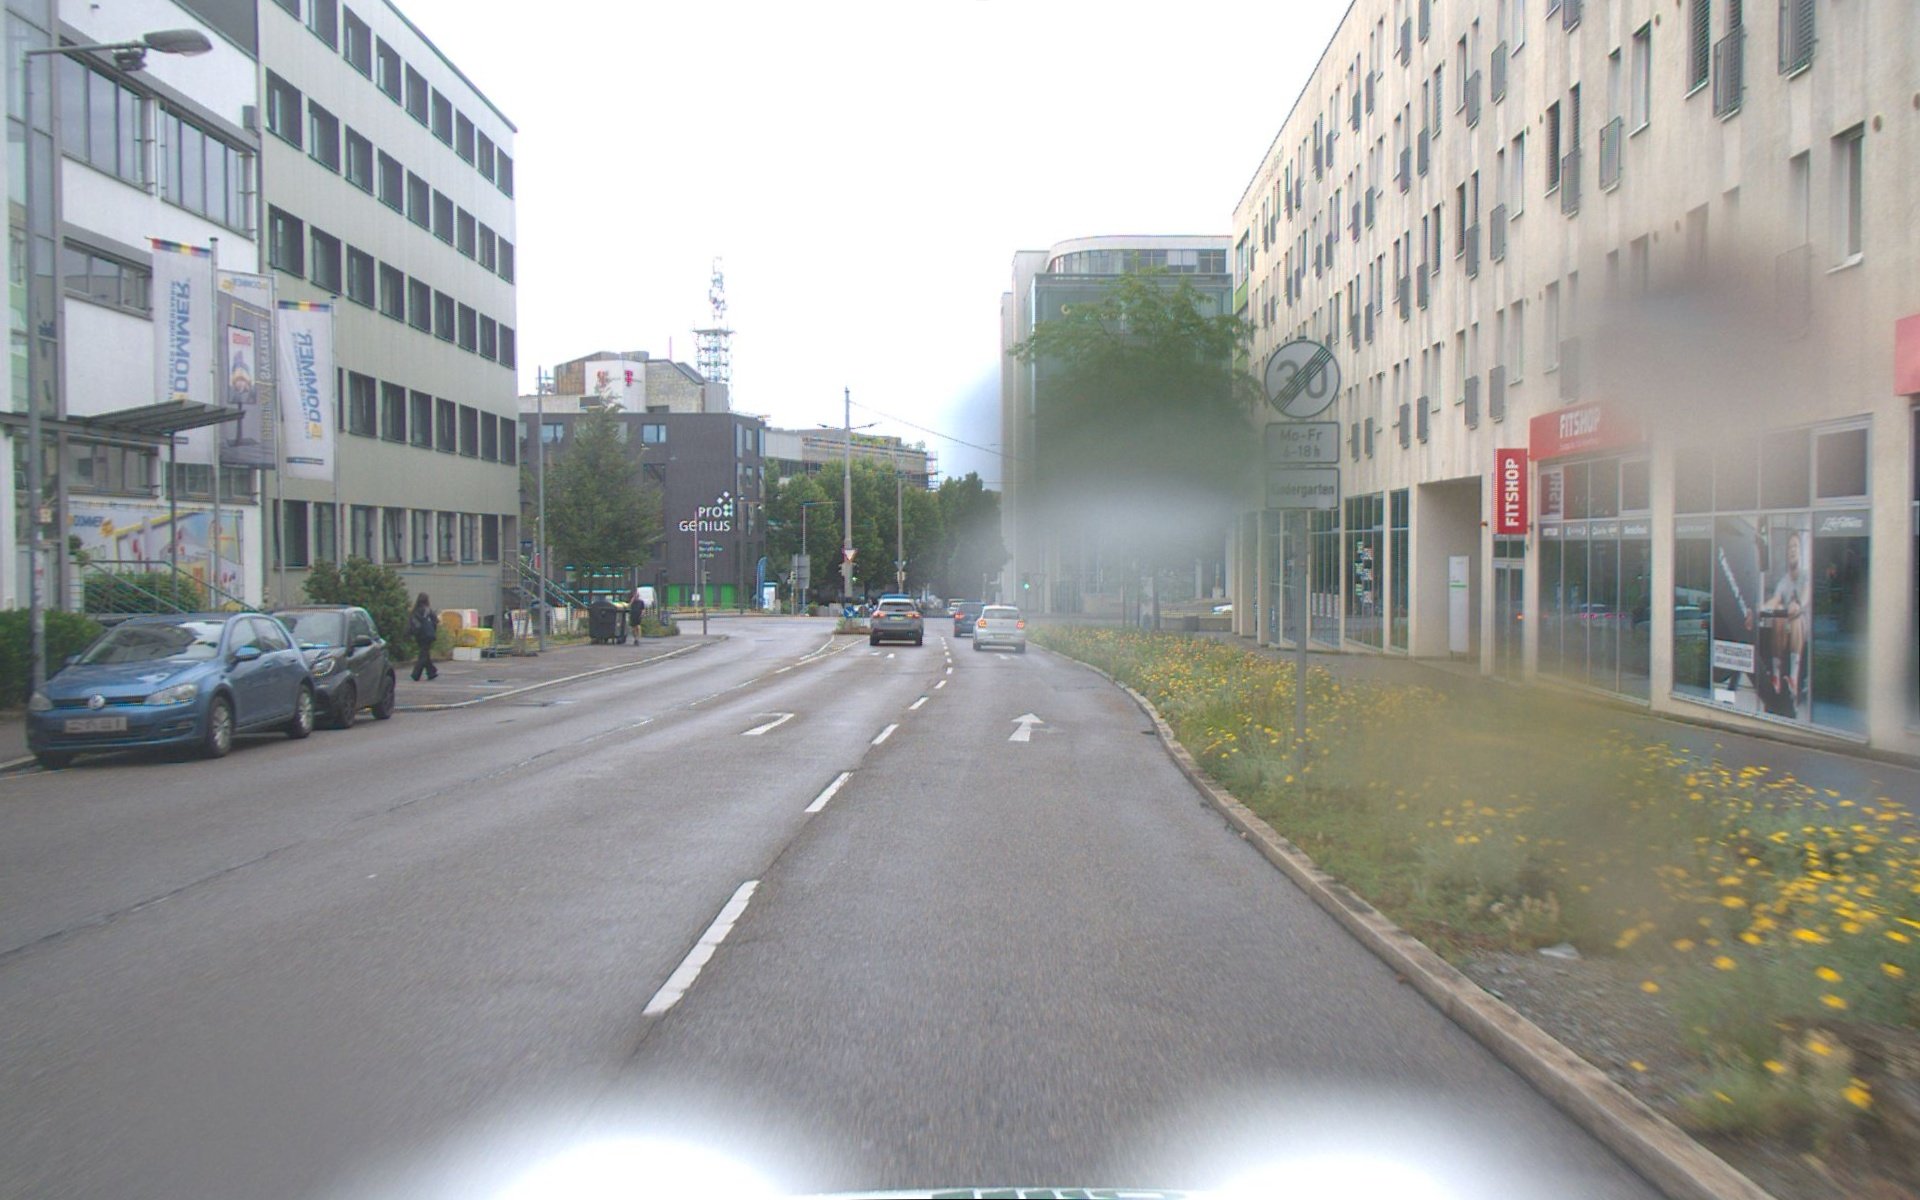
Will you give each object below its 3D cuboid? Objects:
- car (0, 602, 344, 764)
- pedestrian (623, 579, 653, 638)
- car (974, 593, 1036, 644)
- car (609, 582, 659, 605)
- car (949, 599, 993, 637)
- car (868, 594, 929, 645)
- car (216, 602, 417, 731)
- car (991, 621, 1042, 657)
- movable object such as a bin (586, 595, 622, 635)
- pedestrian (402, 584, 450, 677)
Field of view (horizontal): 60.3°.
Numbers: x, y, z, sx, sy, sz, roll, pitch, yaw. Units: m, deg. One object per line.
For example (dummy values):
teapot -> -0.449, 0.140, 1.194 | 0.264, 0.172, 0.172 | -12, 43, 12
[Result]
car -> -8.209, 0.809, 17.670 | 1.876, 1.507, 4.352 | 1, -1, -4
pedestrian -> -10.987, 0.284, 56.373 | 0.943, 1.989, 0.776 | 1, -1, -14
car -> 1.483, 0.575, 54.275 | 1.952, 1.604, 3.997 | 0, 0, 2
car -> -29.128, -0.576, 147.925 | 3.902, 2.049, 2.002 | 0, -1, 11
car -> 0.490, 0.836, 78.514 | 1.953, 1.780, 3.671 | 0, 0, -2
car -> -2.185, 0.707, 59.221 | 2.098, 1.758, 3.998 | 1, -1, -2
car -> -8.433, 0.819, 21.923 | 1.532, 1.541, 3.169 | -1, 0, -3
car -> 2.459, 1.686, 73.067 | 1.953, 1.534, 3.998 | 1, -1, -3
movable object such as a bin -> -12.078, 0.489, 56.122 | 1.184, 1.344, 0.871 | 0, 0, -13
pedestrian -> -10.125, 0.577, 31.366 | 0.720, 1.738, 0.895 | 0, -1, -29
